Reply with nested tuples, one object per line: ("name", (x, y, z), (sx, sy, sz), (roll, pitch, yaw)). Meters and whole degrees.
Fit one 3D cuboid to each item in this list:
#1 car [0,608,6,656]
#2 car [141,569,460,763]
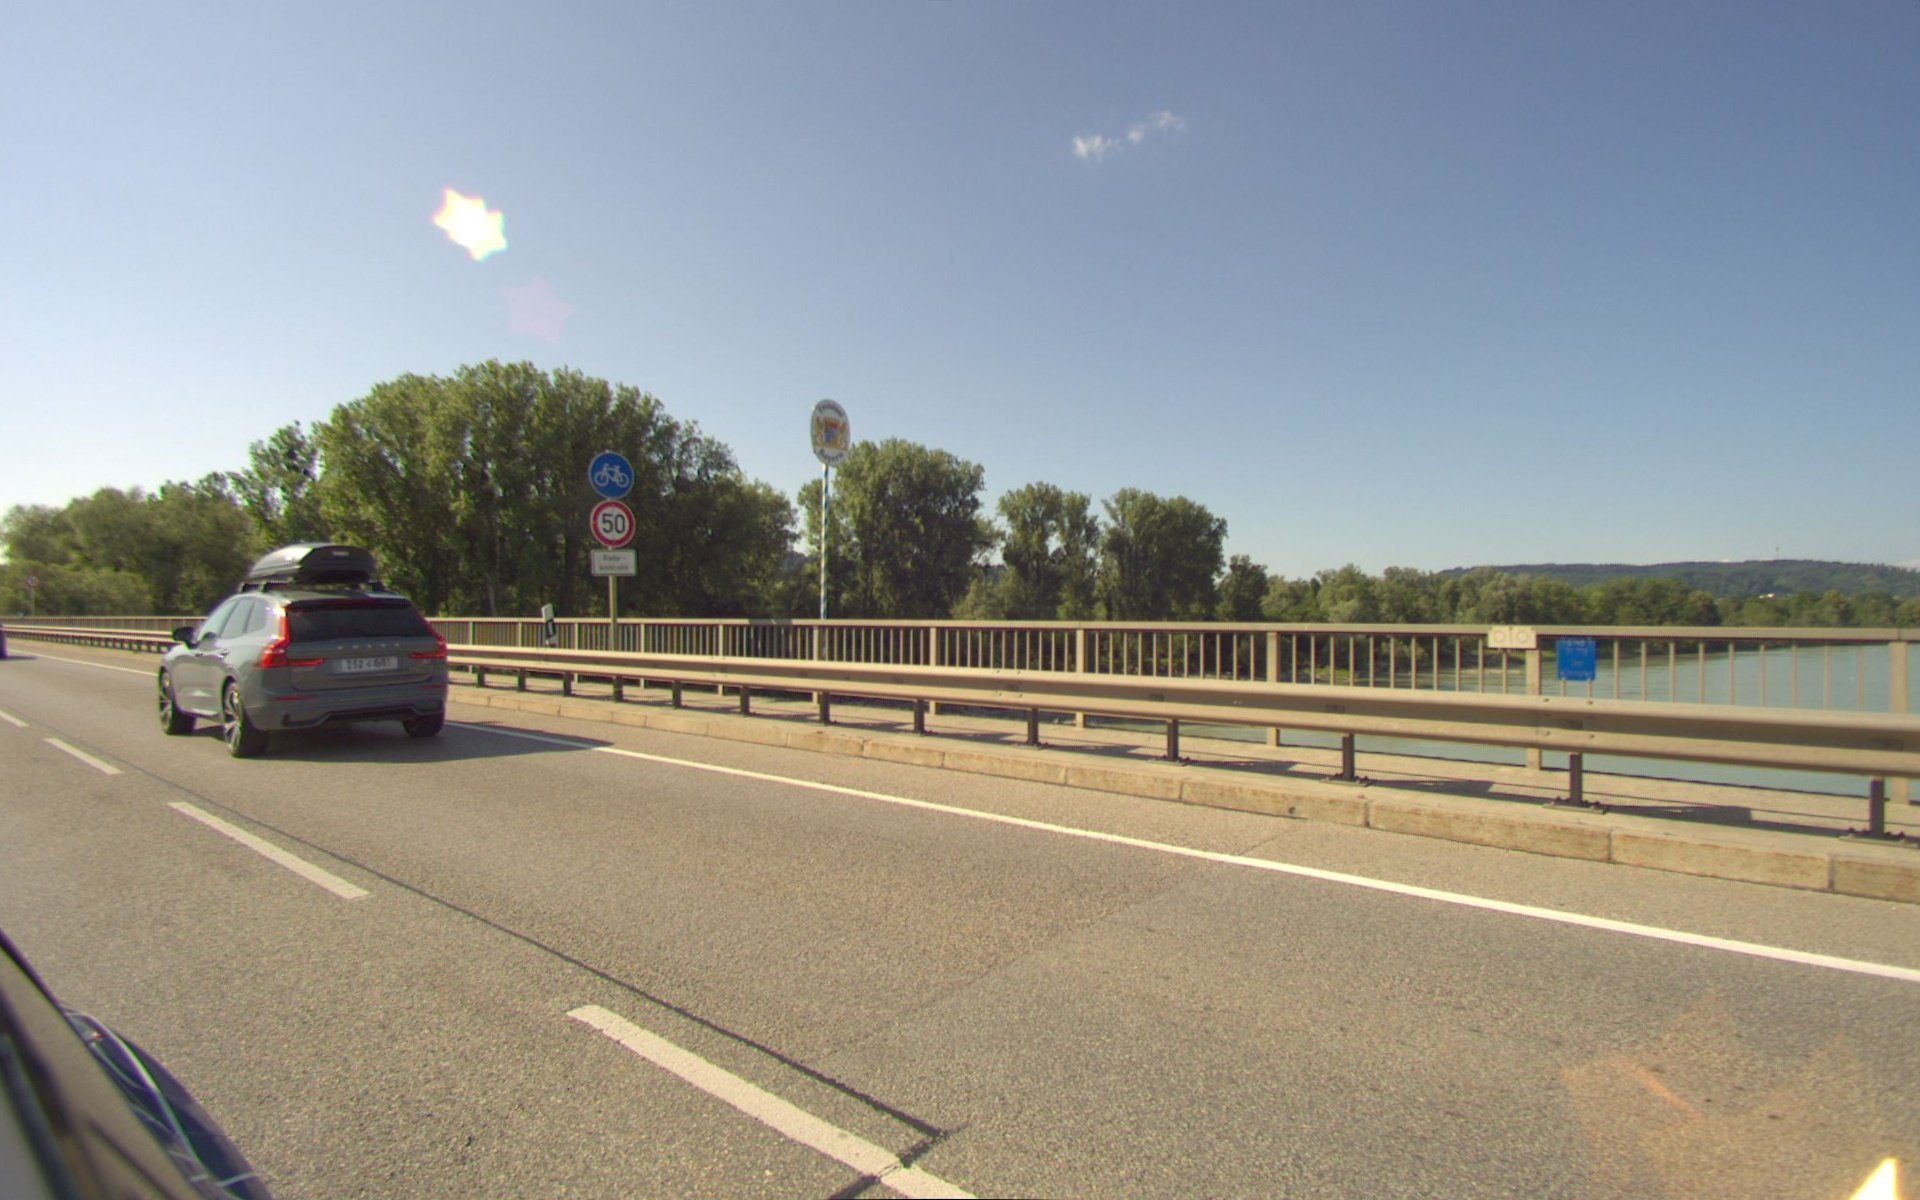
("car", (-31.468, 1.020, 31.786), (4.454, 1.458, 1.747), (-1, 0, 41))
("car", (-7.487, 0.601, 11.285), (4.564, 1.735, 1.835), (-1, 0, 42))
